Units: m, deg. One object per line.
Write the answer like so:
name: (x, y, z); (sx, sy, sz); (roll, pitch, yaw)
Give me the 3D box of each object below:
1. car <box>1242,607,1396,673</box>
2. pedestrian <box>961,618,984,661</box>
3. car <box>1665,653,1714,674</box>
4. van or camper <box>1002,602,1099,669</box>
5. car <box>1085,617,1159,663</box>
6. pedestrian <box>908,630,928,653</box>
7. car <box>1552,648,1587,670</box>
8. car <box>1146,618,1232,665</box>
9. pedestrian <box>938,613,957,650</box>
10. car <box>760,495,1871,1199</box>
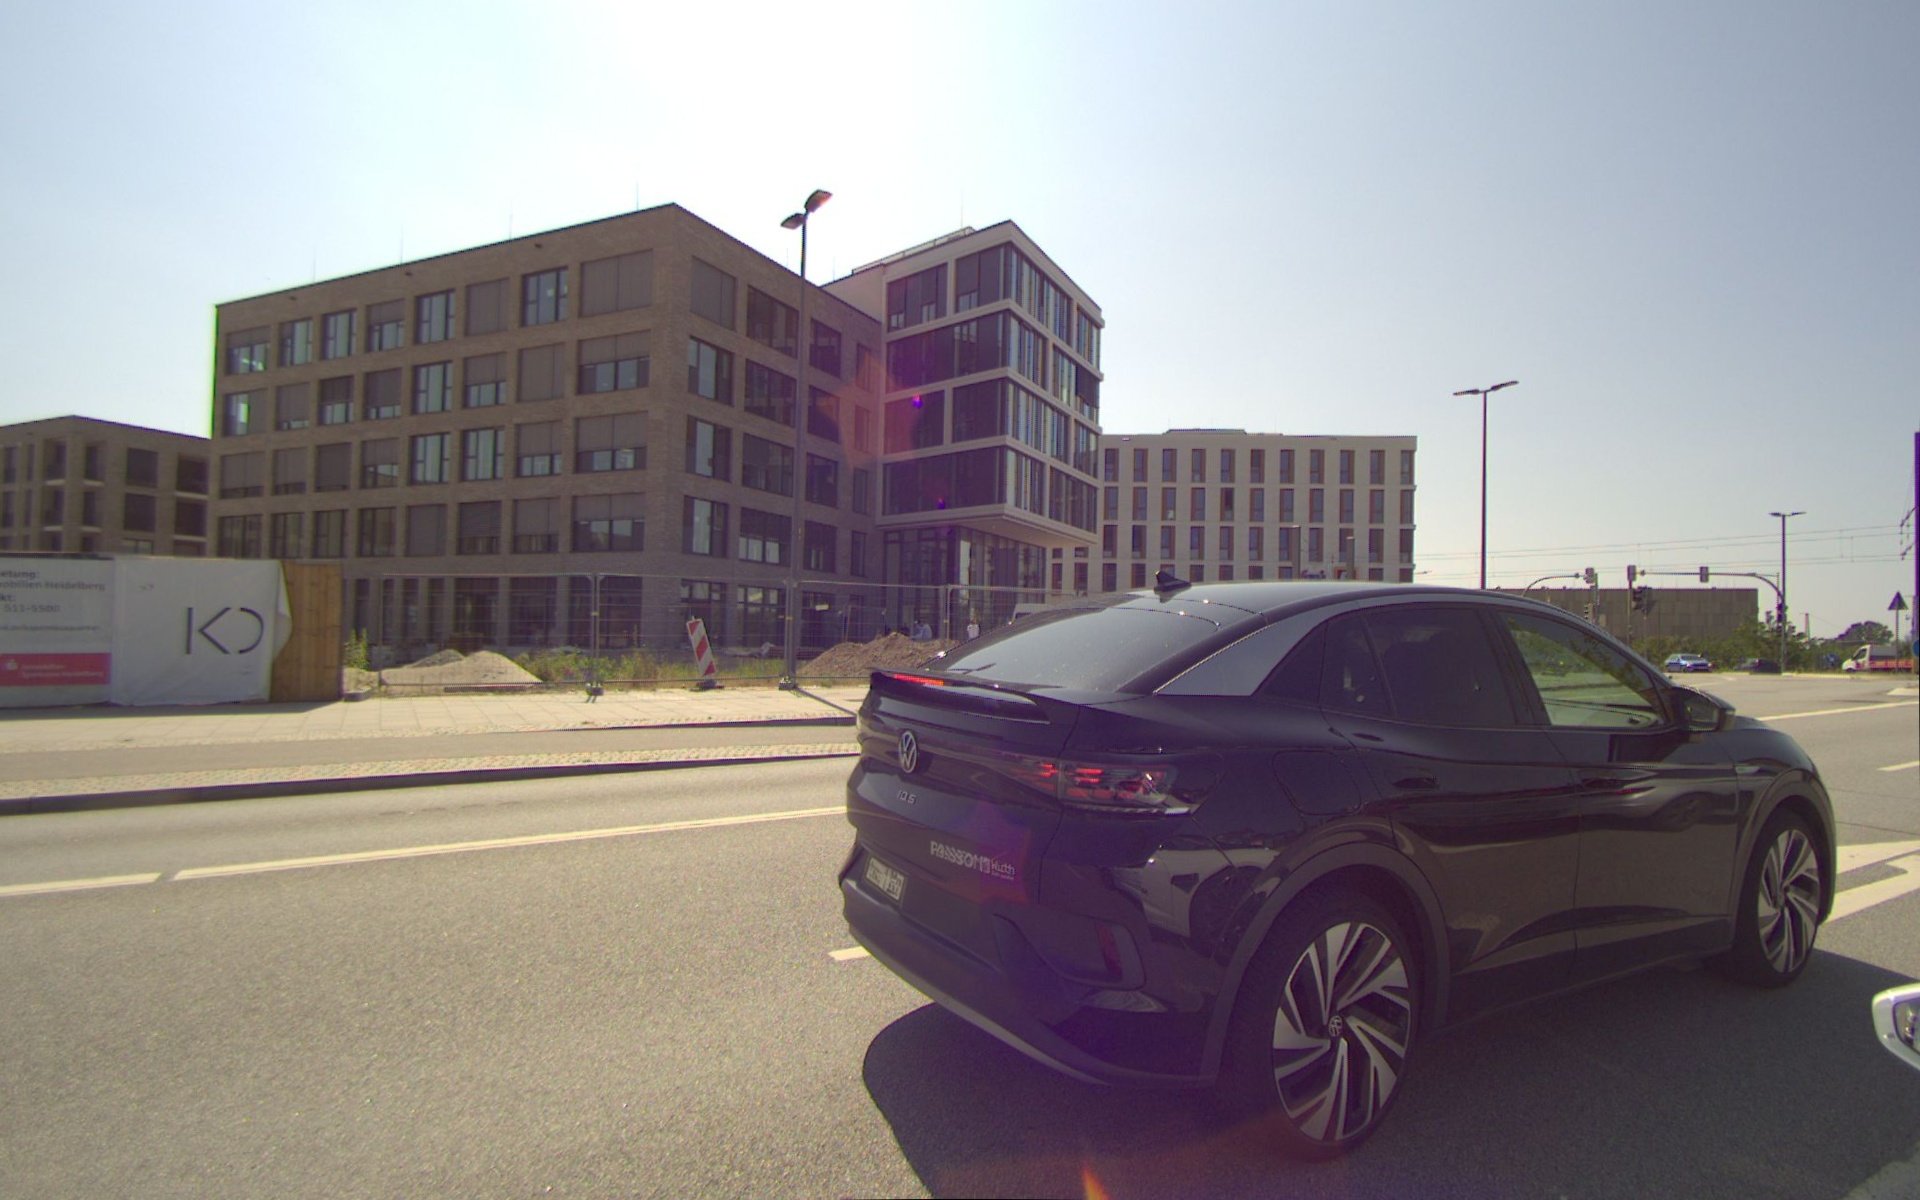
car: (11.958, 1.298, 33.776); (4.533, 1.988, 1.991); (2, 0, 9)
pedestrian: (0.525, 1.663, 42.359); (0.734, 1.741, 0.699); (2, 0, 16)
car: (52.315, 4.554, 72.087); (1.787, 1.348, 4.000); (2, -2, 20)
van or camper: (4.114, 1.559, 45.052); (2.273, 2.772, 4.975); (2, 0, 32)
car: (7.093, 1.702, 43.678); (1.760, 1.881, 3.841); (2, 0, 32)
pedestrian: (-1.999, 1.937, 47.388); (0.734, 1.041, 0.699); (2, 0, 16)
car: (44.364, 4.283, 73.183); (1.646, 1.496, 3.405); (0, -1, 22)
car: (9.657, 1.696, 42.162); (1.841, 1.797, 4.637); (2, 0, 36)
pedestrian: (-0.606, 1.532, 48.902); (0.734, 1.741, 0.699); (2, 0, 16)
car: (1.588, 0.674, 3.976); (4.315, 1.663, 1.793); (2, -1, -30)
